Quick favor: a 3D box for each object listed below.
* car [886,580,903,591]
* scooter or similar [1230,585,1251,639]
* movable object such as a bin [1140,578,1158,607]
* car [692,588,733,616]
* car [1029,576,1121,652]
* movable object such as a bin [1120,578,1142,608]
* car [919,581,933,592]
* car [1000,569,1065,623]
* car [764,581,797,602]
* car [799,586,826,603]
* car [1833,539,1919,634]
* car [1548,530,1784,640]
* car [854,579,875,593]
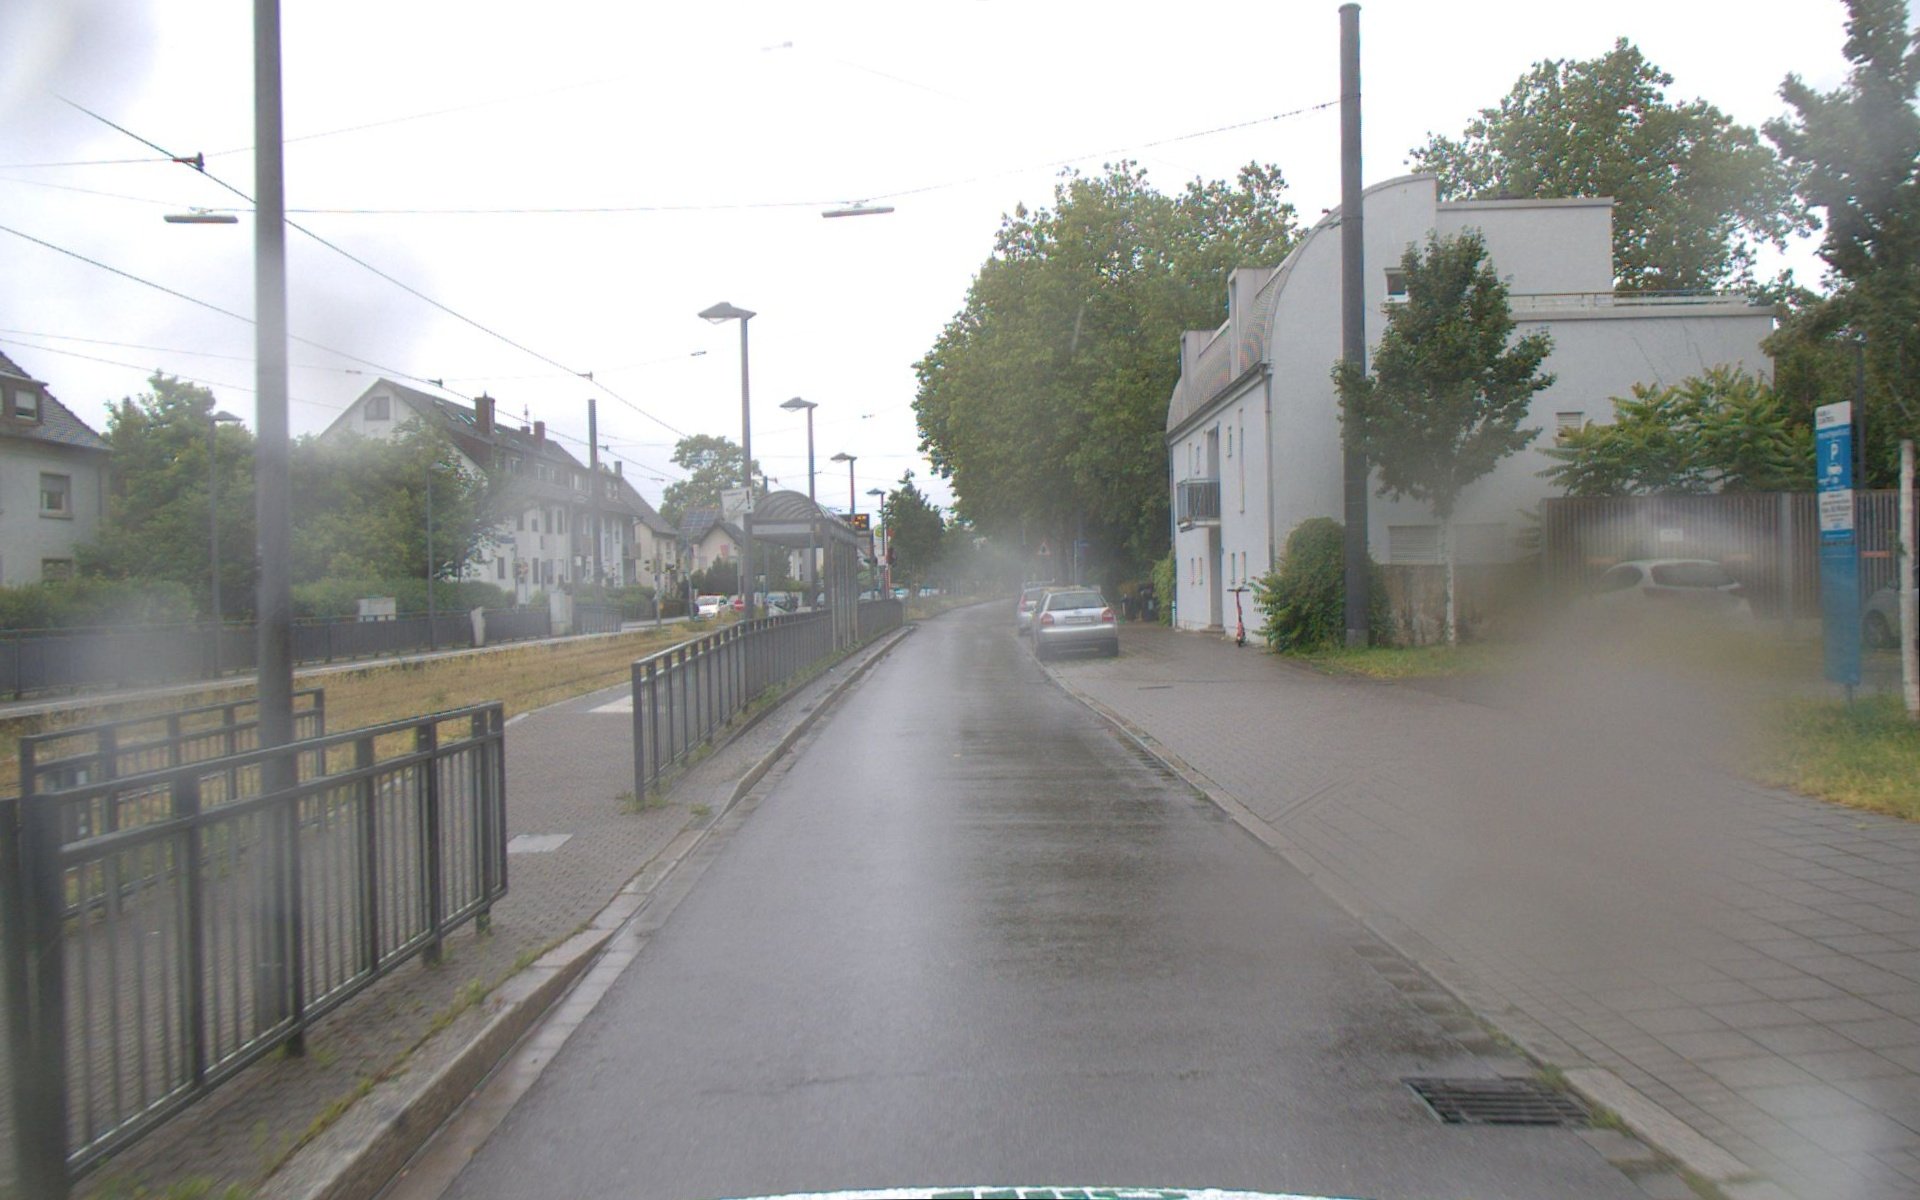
[{"bbox_3d":[-8.752,-1.948,222.697,1.888,1.512,4.002,-1,0,3],"label":"car"},{"bbox_3d":[5.937,0.245,35.023,0.326,1.104,1.396,-1,0,5],"label":"scooter or similar"},{"bbox_3d":[6.960,-0.268,60.904,0.525,1.039,0.738,-4,0,-1],"label":"movable object such as a bin"},{"bbox_3d":[-13.666,0.107,91.567,1.599,1.519,4.000,-1,0,1],"label":"car"},{"bbox_3d":[2.456,0.284,36.164,1.616,1.429,4.649,-5,0,0],"label":"car"},{"bbox_3d":[6.353,-0.266,61.576,0.678,1.039,0.824,-4,0,-1],"label":"movable object such as a bin"},{"bbox_3d":[-5.169,-2.059,253.226,1.888,1.512,4.002,-1,0,3],"label":"car"},{"bbox_3d":[2.236,-0.120,51.872,1.770,1.493,3.794,-5,0,0],"label":"car"},{"bbox_3d":[-13.528,-0.650,124.859,1.888,1.512,4.002,-1,0,3],"label":"car"},{"bbox_3d":[-13.735,-0.528,154.253,1.888,1.512,4.002,-1,0,3],"label":"car"},{"bbox_3d":[15.844,-0.230,26.171,1.925,1.472,3.661,-1,2,-5],"label":"car"},{"bbox_3d":[10.859,-0.274,25.815,1.922,1.561,4.365,-1,2,2],"label":"car"},{"bbox_3d":[-10.917,-1.617,189.497,1.888,1.512,4.002,-1,0,3],"label":"car"}]
